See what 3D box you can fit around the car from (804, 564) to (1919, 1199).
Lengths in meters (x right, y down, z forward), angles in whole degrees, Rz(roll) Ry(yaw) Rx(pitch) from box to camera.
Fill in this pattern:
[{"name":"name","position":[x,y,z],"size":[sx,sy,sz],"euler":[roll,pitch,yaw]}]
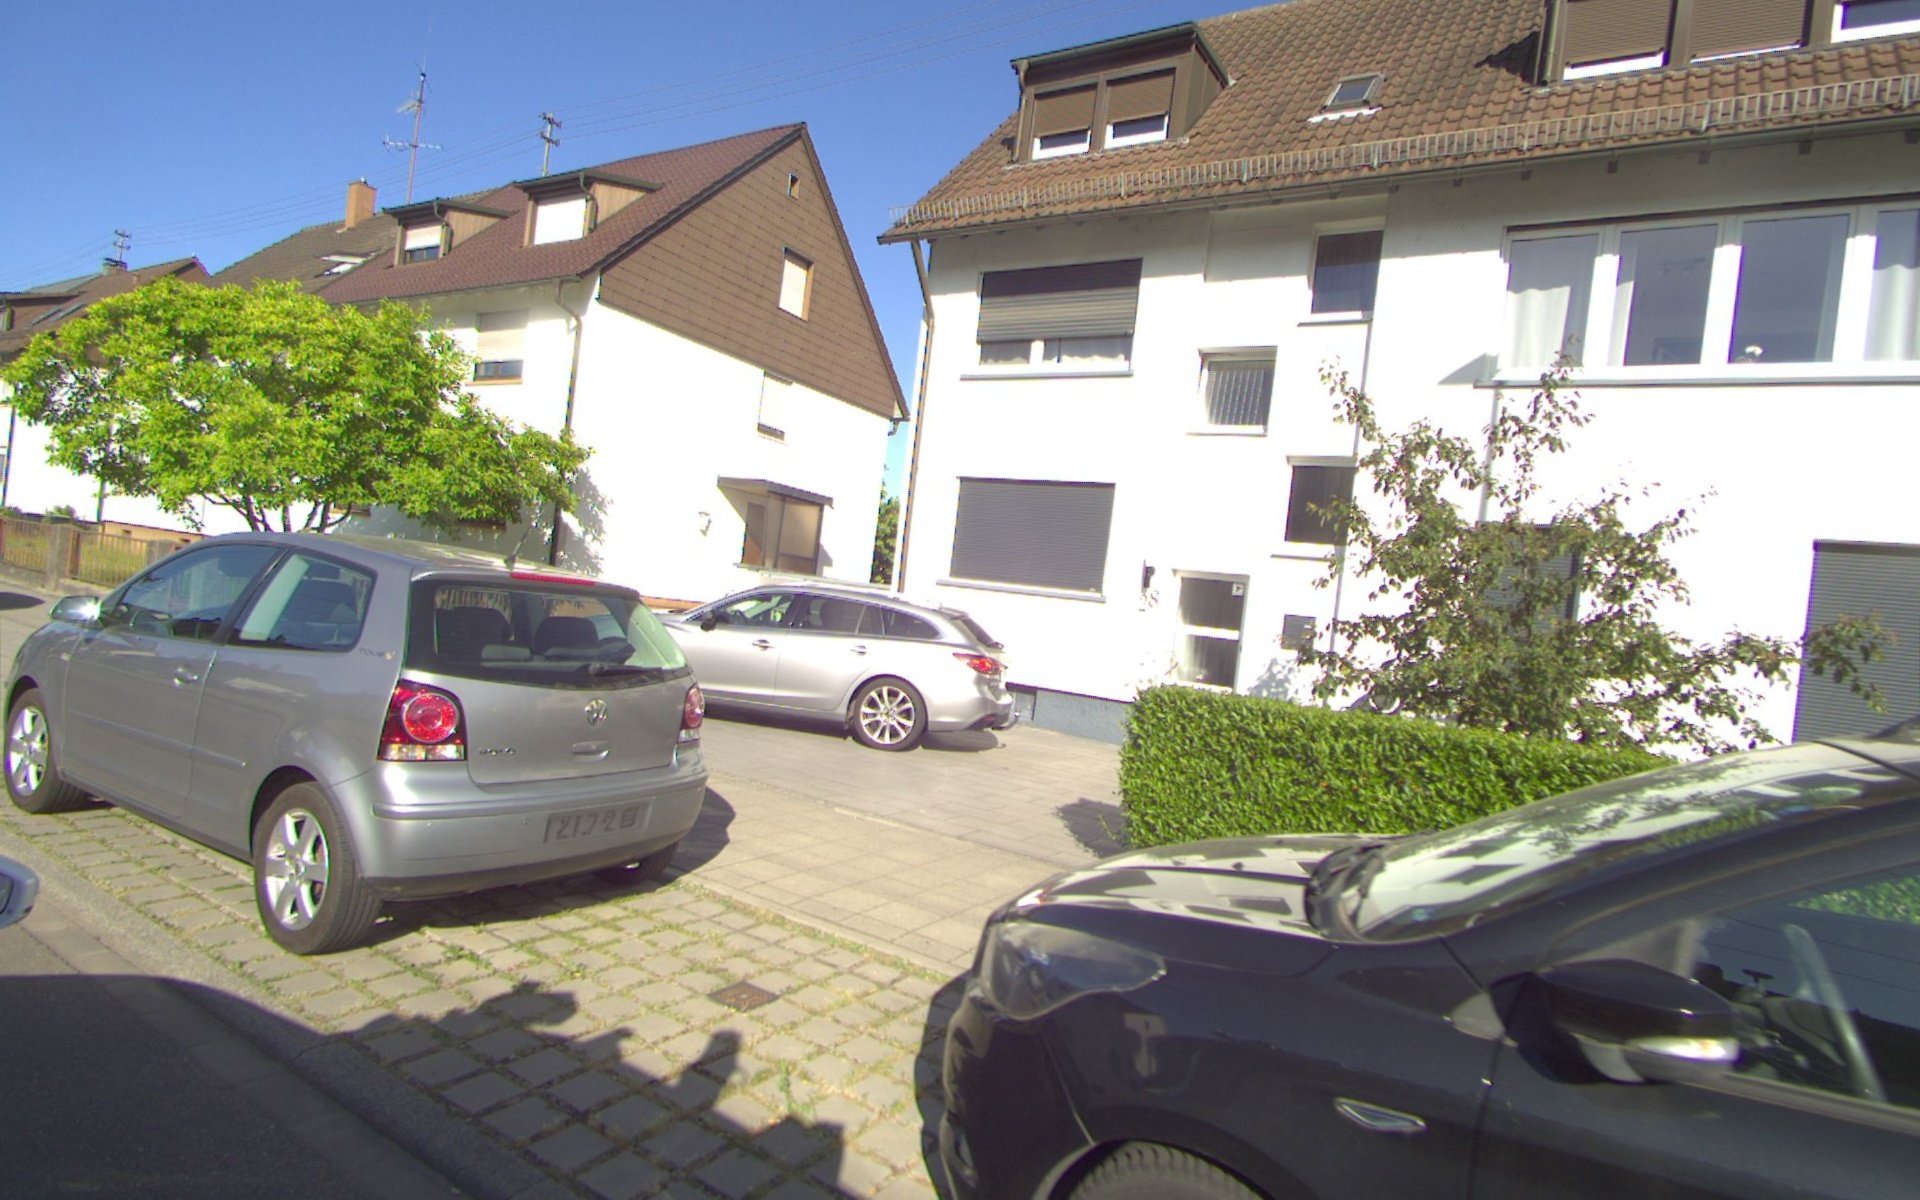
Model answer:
[{"name":"car","position":[1.731,0.923,1.826],"size":[3.773,1.568,1.666],"euler":[7,2,33]}]

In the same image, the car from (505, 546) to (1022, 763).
[{"name":"car","position":[-1.864,0.497,10.484],"size":[4.789,1.463,2.000],"euler":[7,1,7]}]

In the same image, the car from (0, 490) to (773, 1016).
[{"name":"car","position":[-3.187,0.391,4.917],"size":[4.375,1.493,1.618],"euler":[6,0,31]}]
